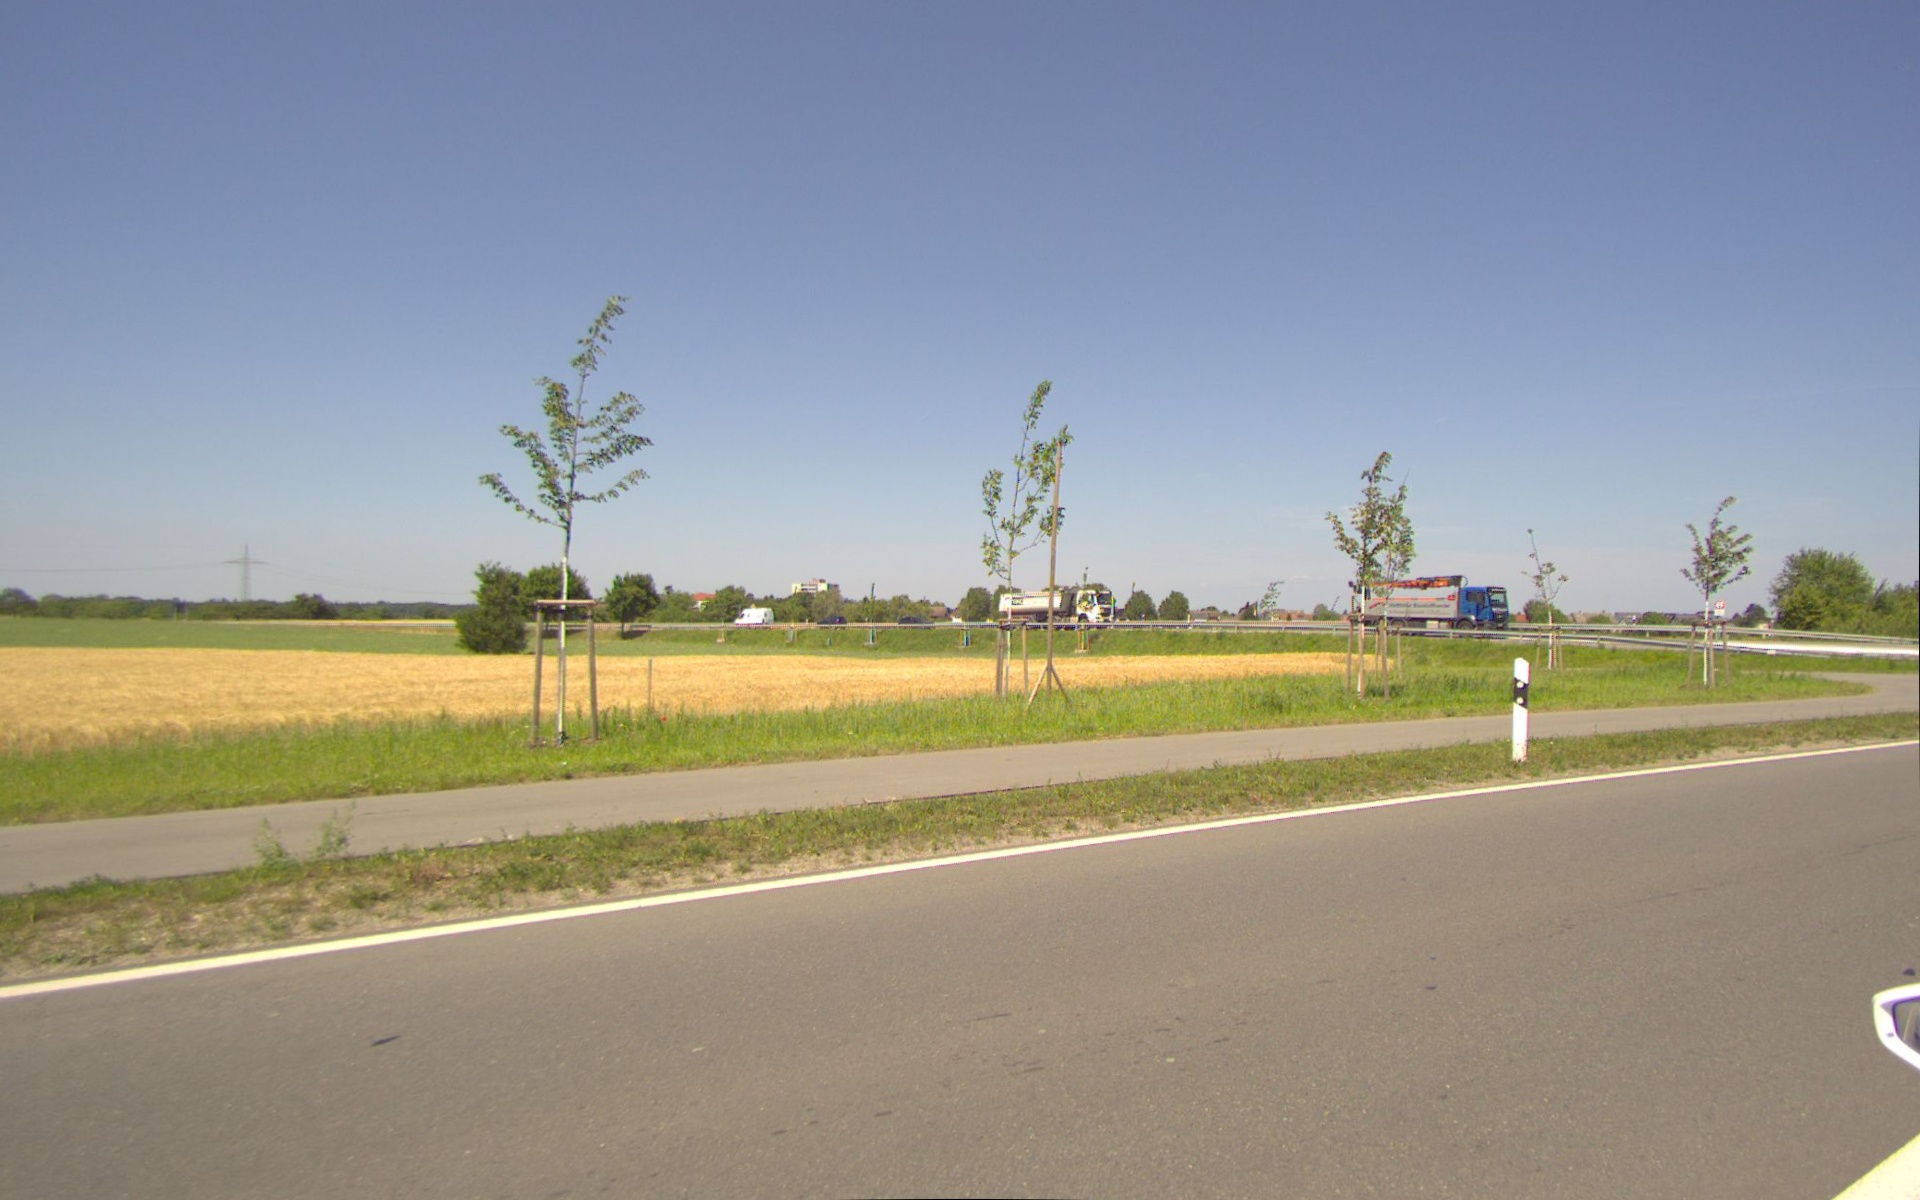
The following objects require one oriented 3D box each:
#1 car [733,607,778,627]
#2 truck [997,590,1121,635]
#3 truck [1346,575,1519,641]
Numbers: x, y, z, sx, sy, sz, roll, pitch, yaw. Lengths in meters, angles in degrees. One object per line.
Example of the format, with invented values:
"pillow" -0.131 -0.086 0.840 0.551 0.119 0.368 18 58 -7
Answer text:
"car" -26.306 2.128 129.151 5.838 2.454 2.241 1 0 35
"truck" 8.318 1.022 86.799 2.960 3.663 11.883 1 0 -41
"truck" 29.370 0.448 63.130 2.597 3.844 10.024 1 0 -32
